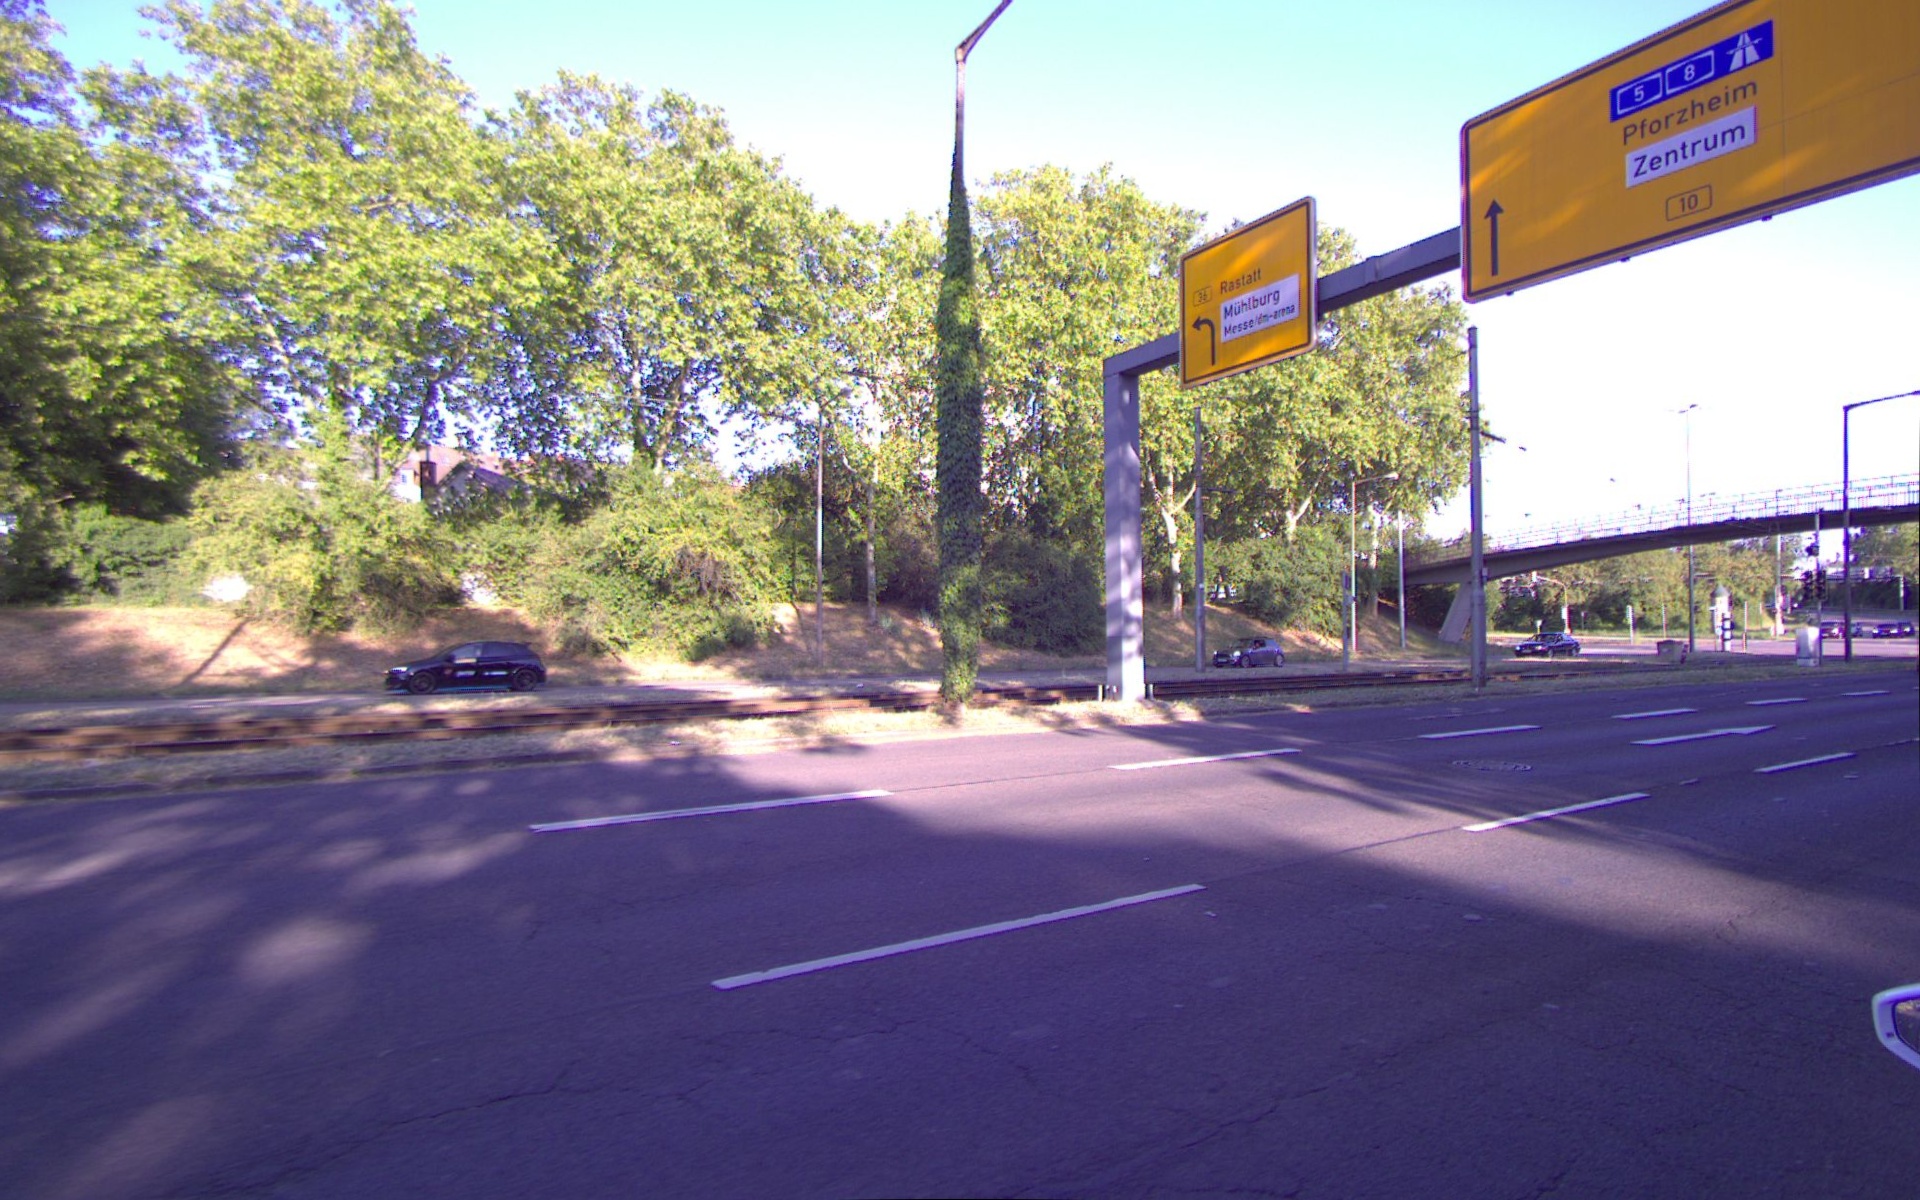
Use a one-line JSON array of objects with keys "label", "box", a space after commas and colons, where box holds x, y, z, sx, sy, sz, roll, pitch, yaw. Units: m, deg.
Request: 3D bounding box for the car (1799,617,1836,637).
[{"label": "car", "box": [82.862, 2.593, 97.058, 3.960, 1.795, 1.866, 1, 0, -35]}]

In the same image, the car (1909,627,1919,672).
[{"label": "car", "box": [35.965, 1.730, 36.209, 3.958, 1.585, 1.653, 1, -3, -34]}]

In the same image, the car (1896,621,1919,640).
[{"label": "car", "box": [93.146, 2.920, 98.021, 3.960, 1.795, 1.866, 1, 0, -35]}]

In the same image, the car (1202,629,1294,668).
[{"label": "car", "box": [13.502, 2.260, 47.055, 4.148, 1.703, 1.982, 1, -3, -35]}]

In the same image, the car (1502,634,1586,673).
[{"label": "car", "box": [32.572, 2.955, 55.989, 4.455, 2.040, 1.913, 0, -3, -28]}]

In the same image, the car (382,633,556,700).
[{"label": "car", "box": [-13.533, 1.805, 27.746, 4.146, 1.703, 1.983, 1, -3, -33]}]

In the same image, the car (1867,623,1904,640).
[{"label": "car", "box": [87.373, 2.969, 94.858, 3.638, 1.596, 1.866, 1, 0, -35]}]
